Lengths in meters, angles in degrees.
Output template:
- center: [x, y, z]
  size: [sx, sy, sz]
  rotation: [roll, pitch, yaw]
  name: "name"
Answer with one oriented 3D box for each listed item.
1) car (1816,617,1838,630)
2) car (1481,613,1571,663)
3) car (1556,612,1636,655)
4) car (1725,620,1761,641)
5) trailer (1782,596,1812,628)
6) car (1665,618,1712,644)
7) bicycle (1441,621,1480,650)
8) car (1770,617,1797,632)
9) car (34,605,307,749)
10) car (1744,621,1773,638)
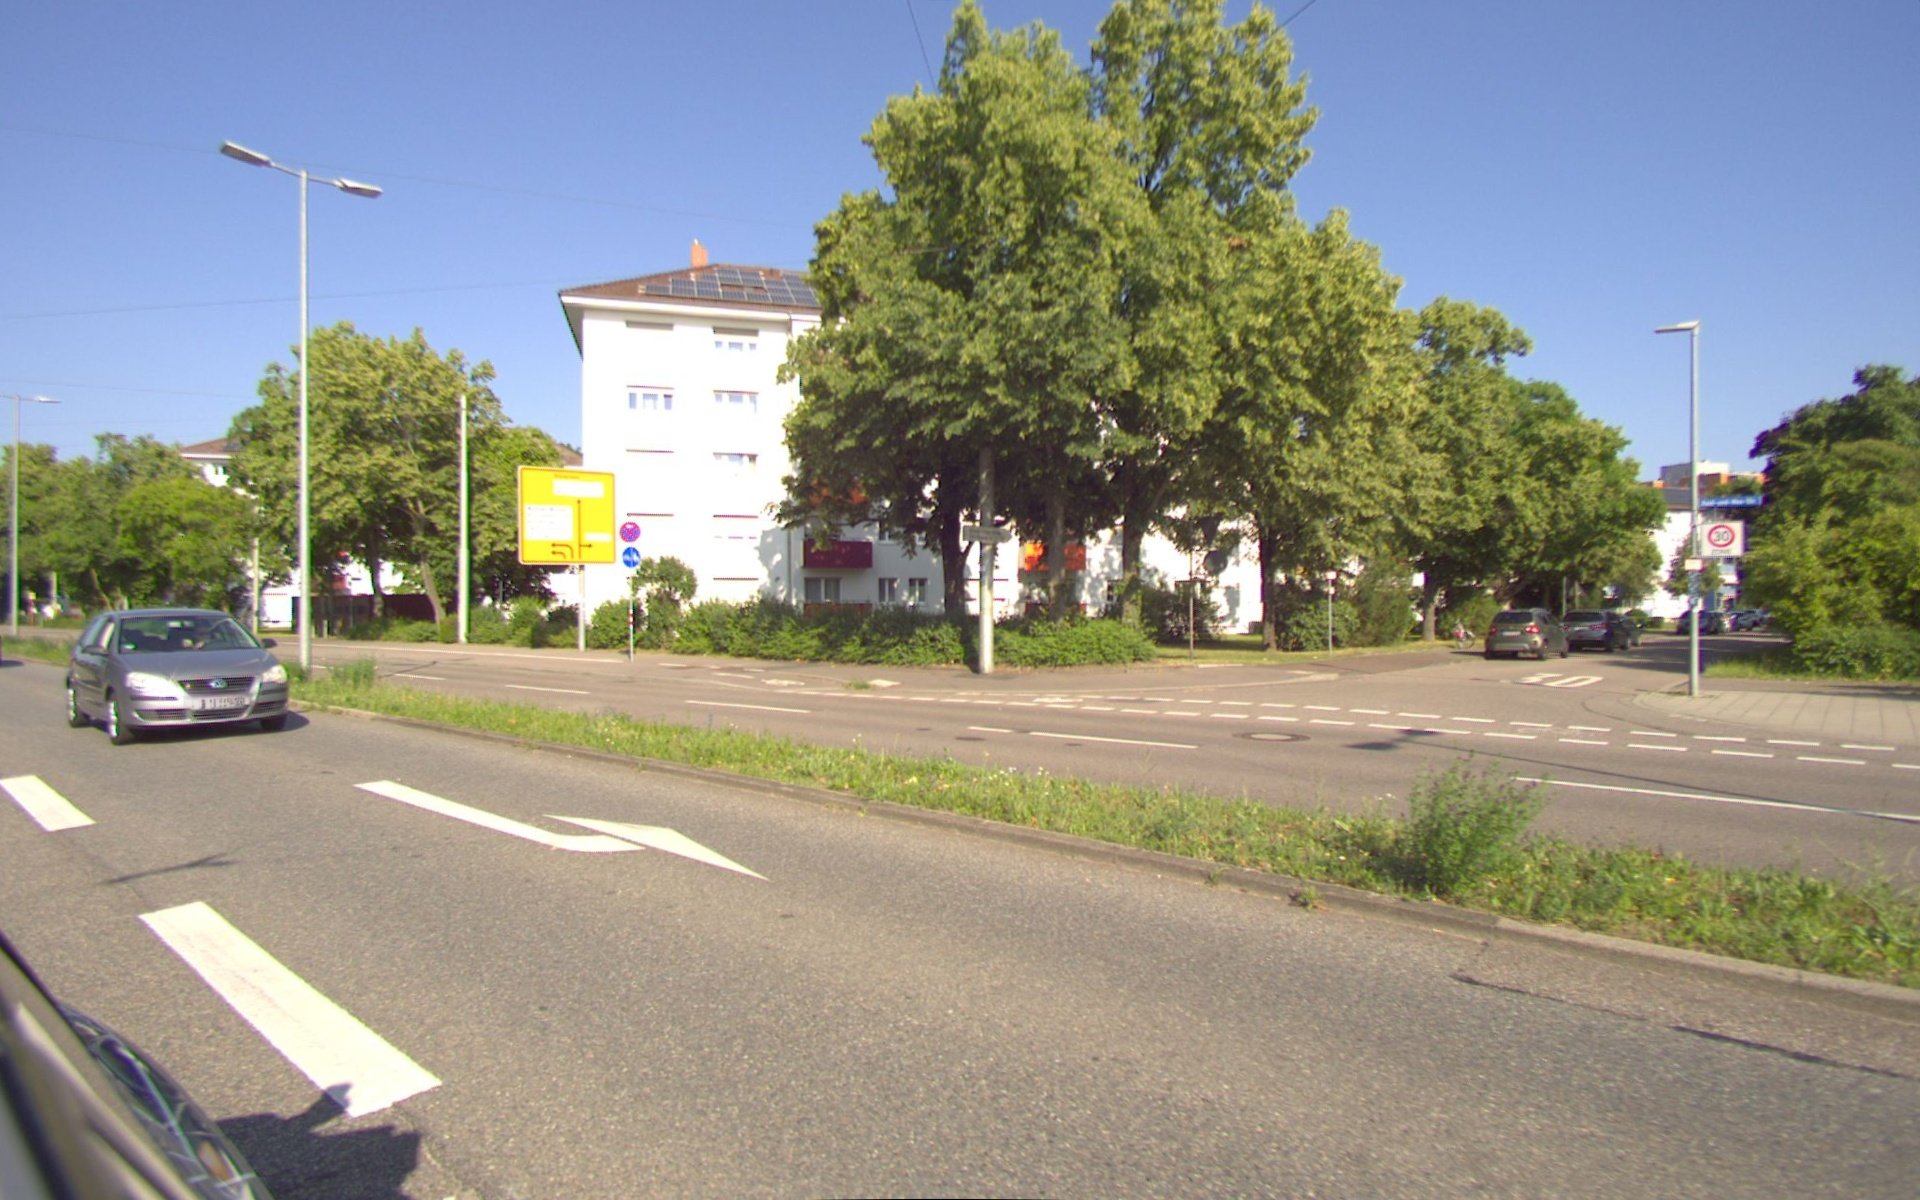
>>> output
- center: [100.271, 2.694, 117.065]
  size: [1.787, 1.521, 3.943]
  rotation: [-1, -2, 43]
  name: "car"
- center: [17.982, 1.153, 32.088]
  size: [1.759, 1.498, 3.514]
  rotation: [-1, -1, 42]
  name: "car"
- center: [24.123, 1.230, 38.320]
  size: [1.787, 1.521, 3.942]
  rotation: [-1, -1, 44]
  name: "car"
- center: [58.259, 2.230, 75.290]
  size: [1.787, 1.521, 3.943]
  rotation: [-1, -2, 43]
  name: "car"
- center: [89.886, 1.284, 108.585]
  size: [2.000, 3.325, 8.775]
  rotation: [0, -1, 43]
  name: "trailer"
- center: [43.596, 1.851, 60.515]
  size: [1.787, 1.521, 3.943]
  rotation: [-1, -2, 43]
  name: "car"
- center: [18.175, 1.287, 36.736]
  size: [0.785, 0.996, 1.720]
  rotation: [-1, -1, 44]
  name: "bicycle"
- center: [81.789, 2.435, 100.510]
  size: [1.787, 1.521, 3.943]
  rotation: [-1, -2, 43]
  name: "car"
- center: [-9.574, 0.812, 12.190]
  size: [3.827, 1.439, 1.673]
  rotation: [-1, 0, 37]
  name: "car"
- center: [72.192, 2.635, 91.502]
  size: [1.787, 1.521, 3.943]
  rotation: [-1, -2, 43]
  name: "car"
